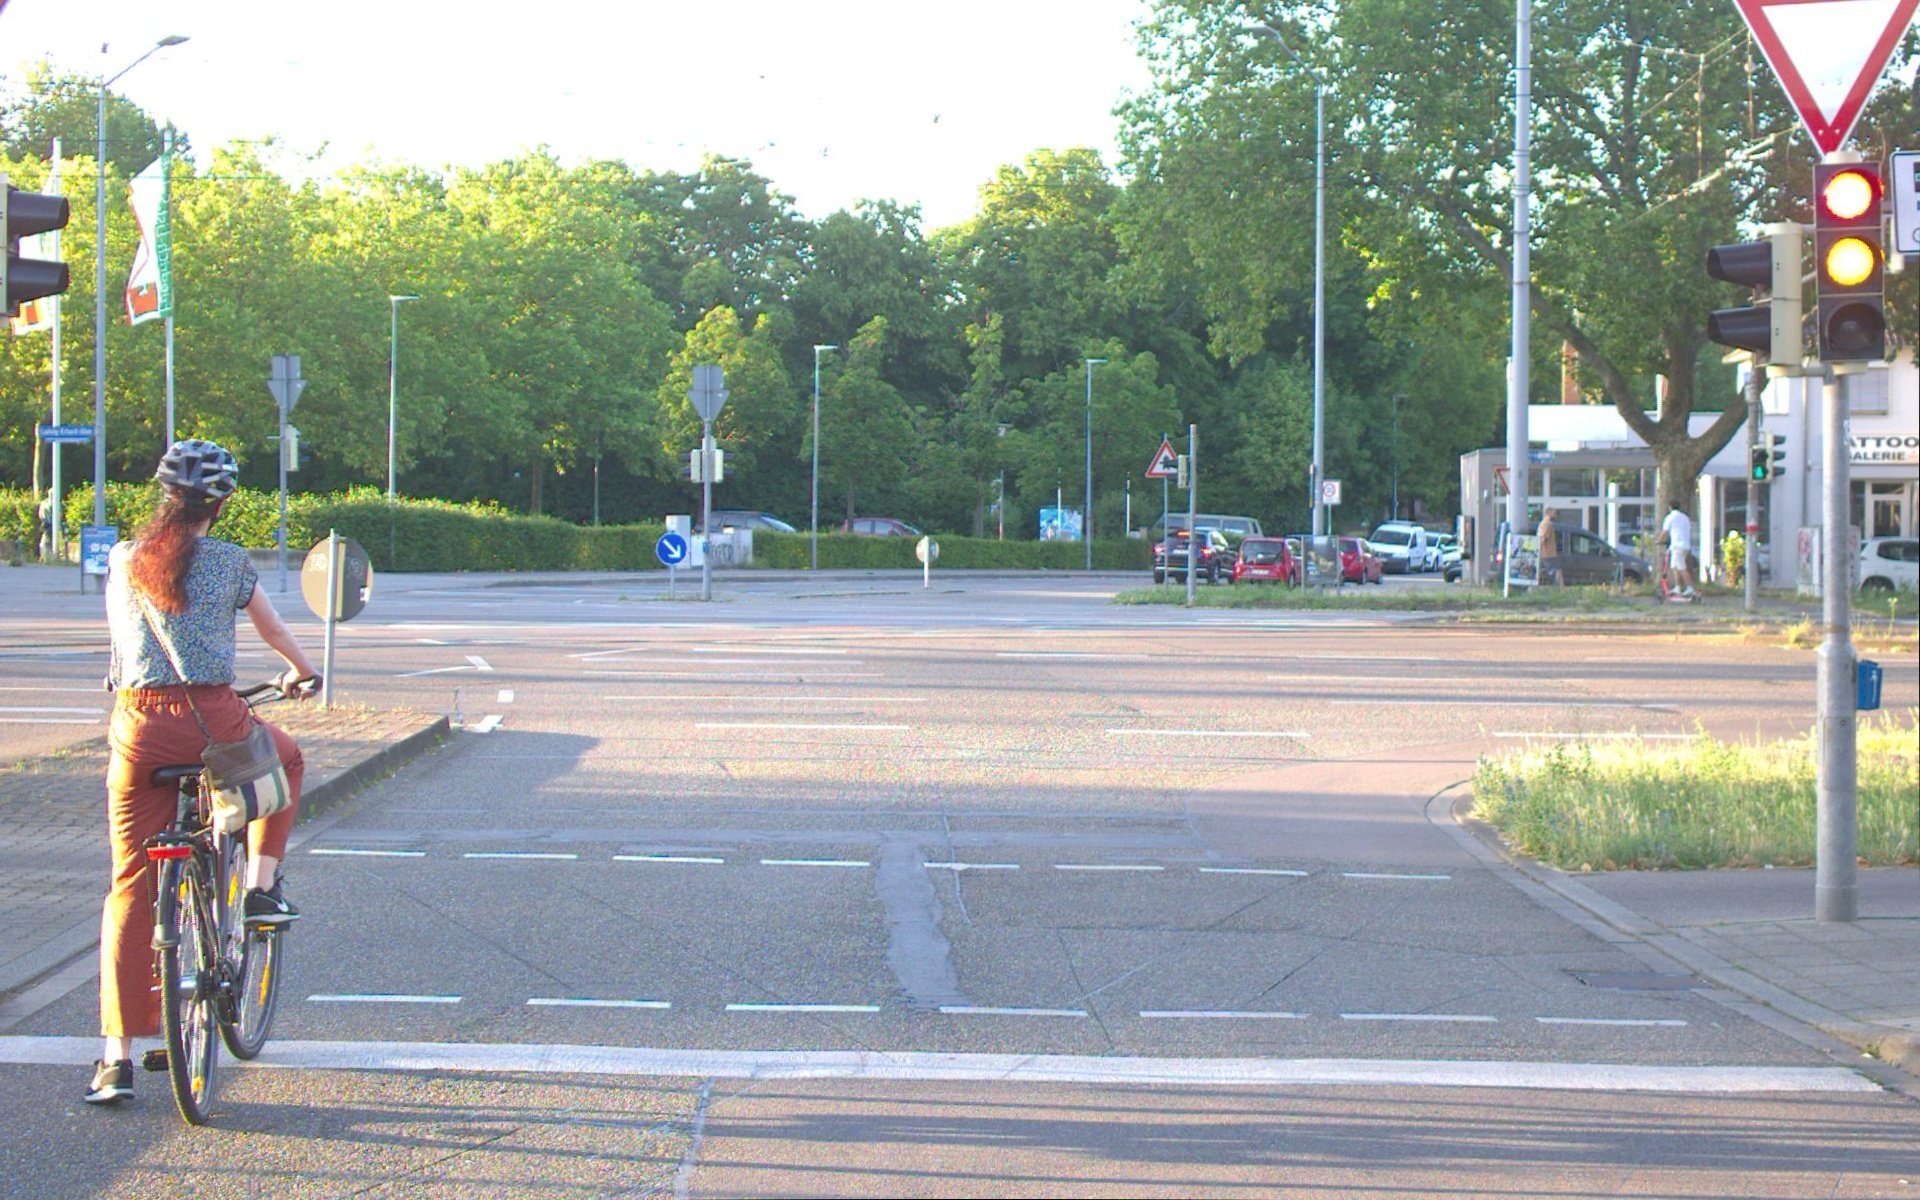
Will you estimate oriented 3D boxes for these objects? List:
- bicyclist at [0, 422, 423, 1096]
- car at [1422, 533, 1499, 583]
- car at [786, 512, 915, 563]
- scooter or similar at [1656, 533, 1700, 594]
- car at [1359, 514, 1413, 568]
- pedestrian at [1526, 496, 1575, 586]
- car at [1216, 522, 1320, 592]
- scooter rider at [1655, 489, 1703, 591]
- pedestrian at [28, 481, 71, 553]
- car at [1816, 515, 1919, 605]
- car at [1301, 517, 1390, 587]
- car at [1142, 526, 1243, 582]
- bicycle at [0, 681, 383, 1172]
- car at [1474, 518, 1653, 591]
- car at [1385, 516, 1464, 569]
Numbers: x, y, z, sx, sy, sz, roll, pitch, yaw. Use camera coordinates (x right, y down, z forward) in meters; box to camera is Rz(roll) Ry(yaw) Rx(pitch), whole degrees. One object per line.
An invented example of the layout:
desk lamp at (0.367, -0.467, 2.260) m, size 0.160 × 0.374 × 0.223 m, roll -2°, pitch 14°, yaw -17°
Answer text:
bicyclist at (-2.042, 0.394, 9.265) m, size 1.031 × 1.712 × 0.996 m, roll 1°, pitch 1°, yaw -1°
car at (16.825, -1.426, 115.508) m, size 1.916 × 1.597 × 3.997 m, roll 1°, pitch 2°, yaw 17°
car at (-3.483, -1.995, 109.514) m, size 3.987 × 1.555 × 2.000 m, roll 1°, pitch 1°, yaw 1°
scooter or similar at (13.153, -0.674, 62.976) m, size 0.510 × 1.086 × 1.243 m, roll 1°, pitch 1°, yaw -1°
car at (16.242, -2.266, 131.170) m, size 1.994 × 2.007 × 3.999 m, roll 1°, pitch 1°, yaw 7°
pedestrian at (11.641, -1.160, 67.761) m, size 0.719 × 1.748 × 0.896 m, roll 1°, pitch 1°, yaw 24°
car at (8.599, -1.213, 95.699) m, size 1.870 × 1.868 × 3.870 m, roll 1°, pitch 2°, yaw 21°
scooter rider at (13.153, -1.096, 62.902) m, size 0.702 × 1.848 × 0.669 m, roll 1°, pitch 0°, yaw -1°
pedestrian at (-22.248, -2.036, 83.998) m, size 0.894 × 1.748 × 0.721 m, roll 0°, pitch 1°, yaw -26°
car at (20.403, -0.842, 72.472) m, size 4.230 × 1.840 × 2.000 m, roll 1°, pitch 1°, yaw 2°
car at (11.613, -1.458, 103.311) m, size 1.916 × 2.040 × 3.997 m, roll 1°, pitch 2°, yaw 17°
car at (6.788, -1.326, 100.099) m, size 1.757 × 1.535 × 4.396 m, roll 1°, pitch 0°, yaw 20°
bicycle at (-2.043, 0.805, 9.258) m, size 0.634 × 1.064 × 2.122 m, roll 1°, pitch 1°, yaw -1°
car at (15.588, -1.199, 88.961) m, size 4.378 × 1.828 × 1.948 m, roll 1°, pitch 1°, yaw 5°
car at (18.341, -2.283, 135.687) m, size 1.996 × 2.007 × 3.995 m, roll 1°, pitch 2°, yaw 24°
